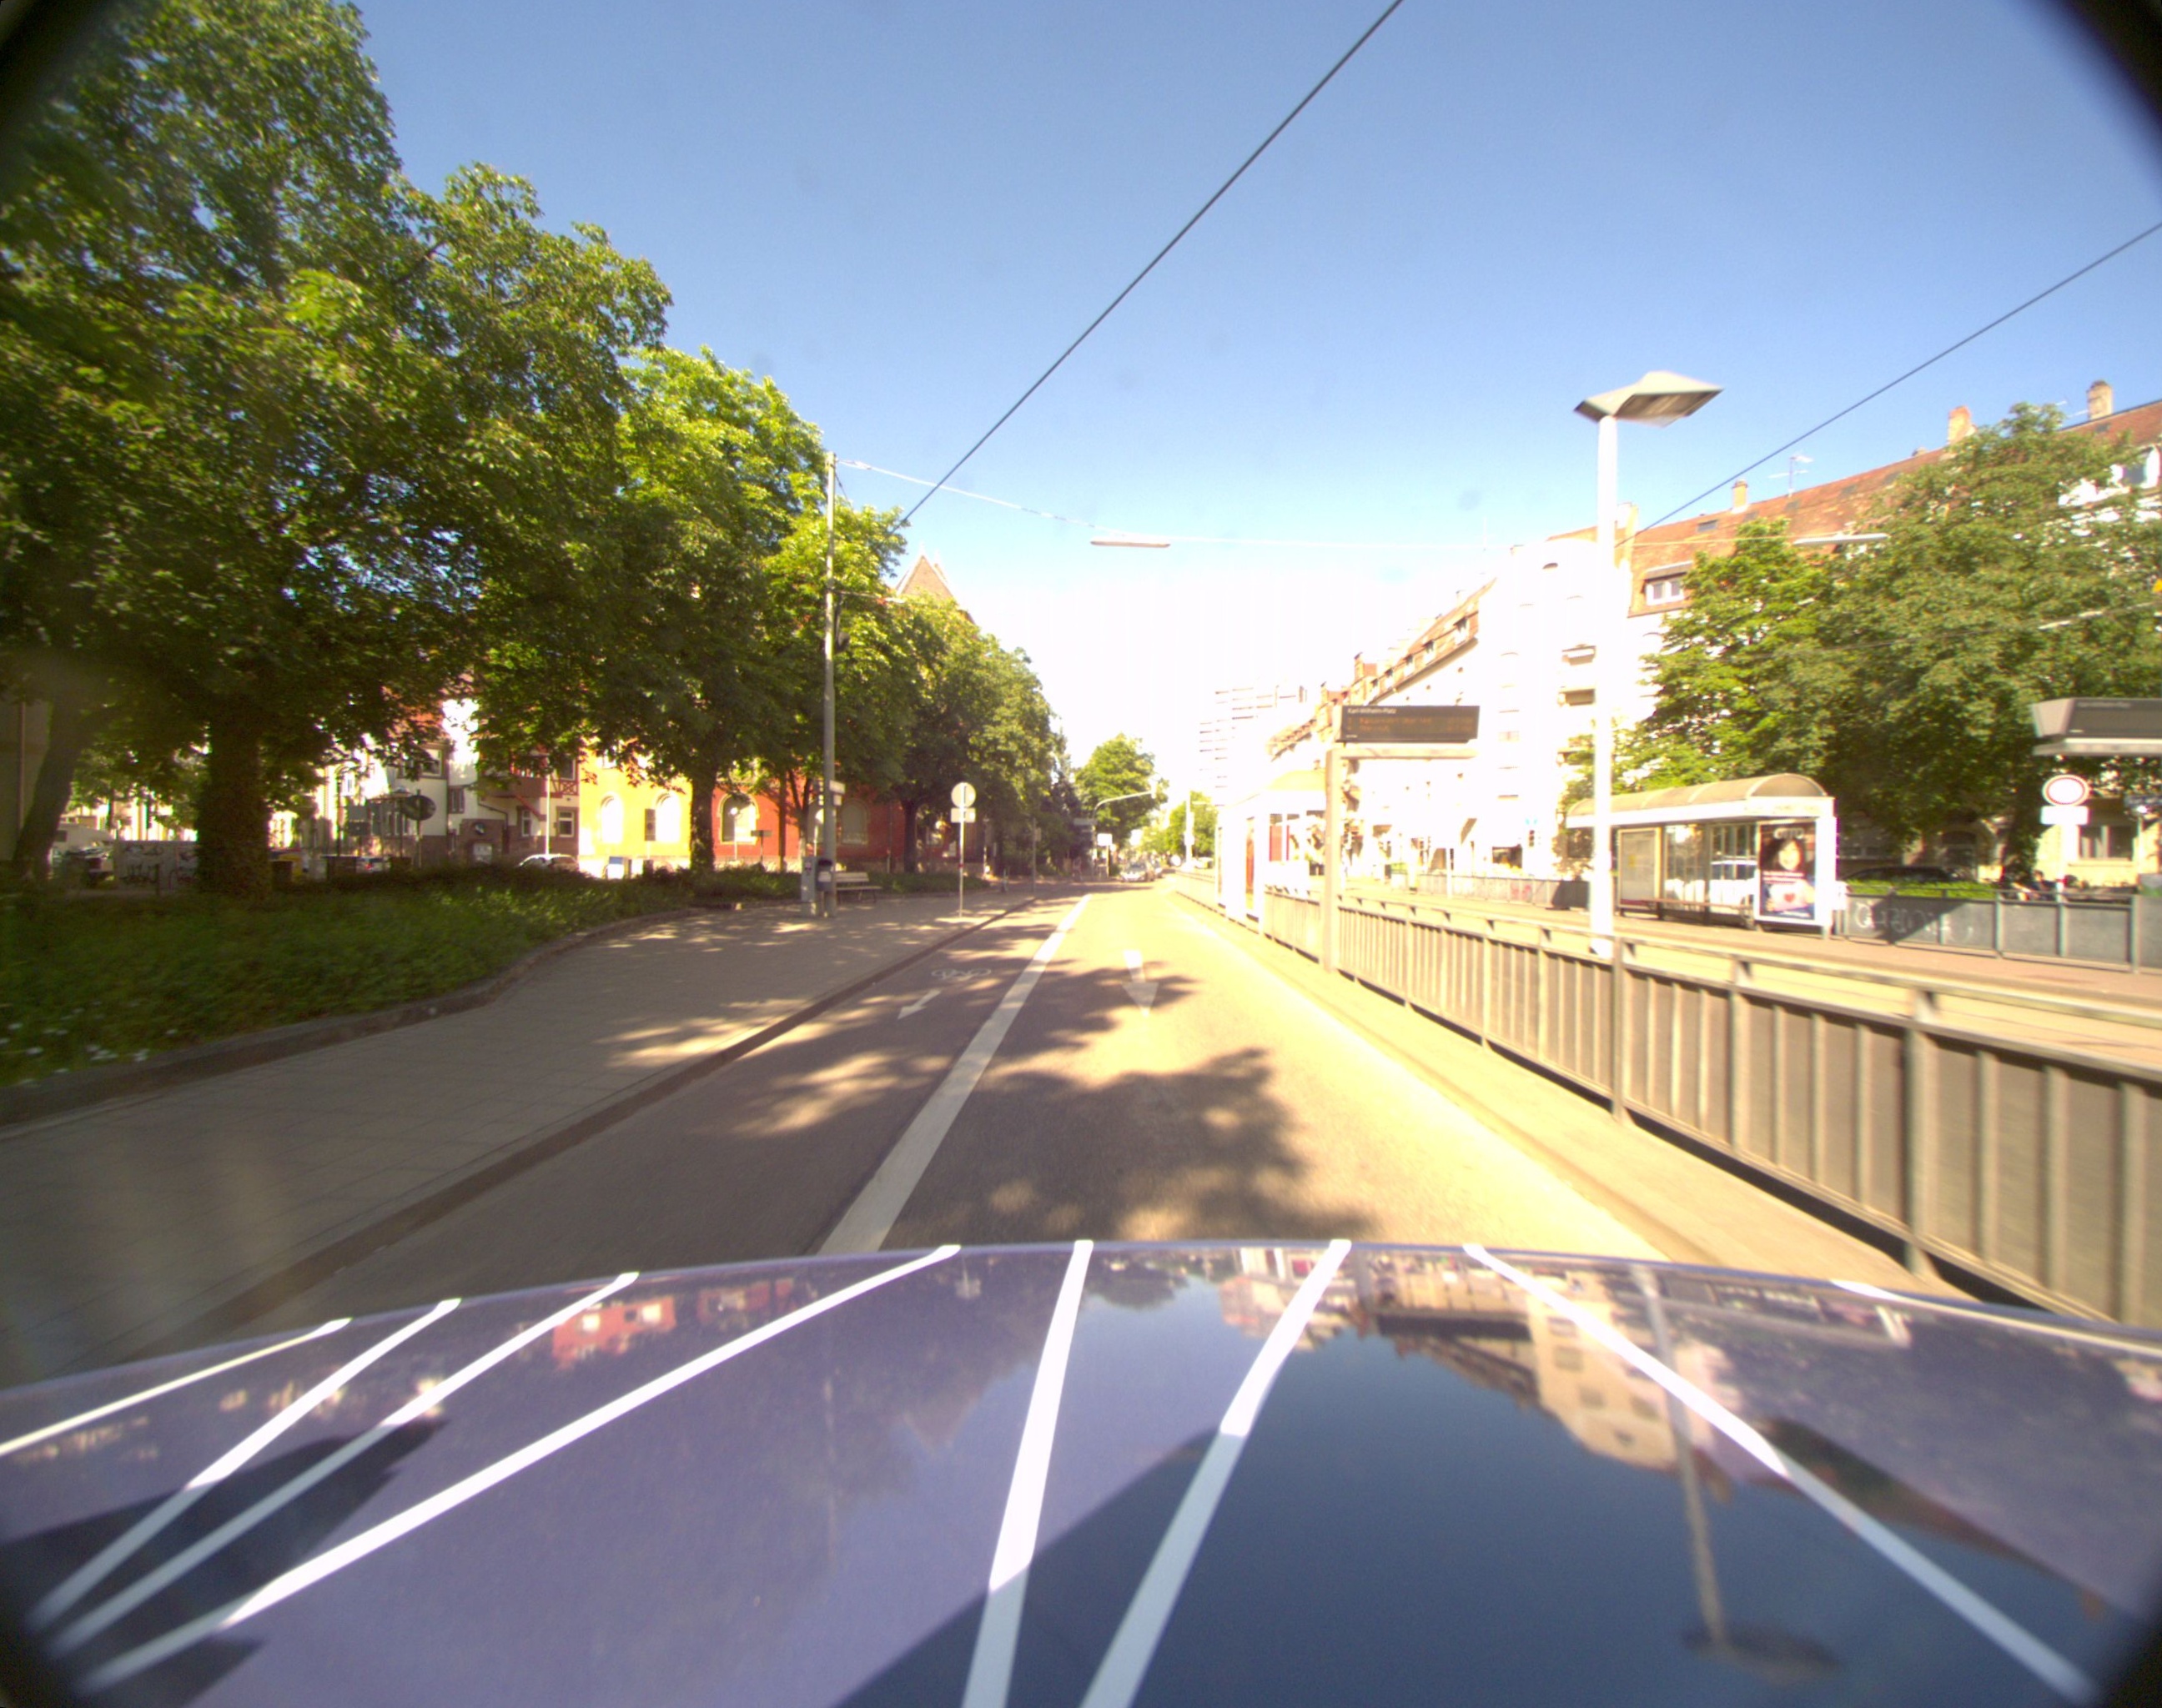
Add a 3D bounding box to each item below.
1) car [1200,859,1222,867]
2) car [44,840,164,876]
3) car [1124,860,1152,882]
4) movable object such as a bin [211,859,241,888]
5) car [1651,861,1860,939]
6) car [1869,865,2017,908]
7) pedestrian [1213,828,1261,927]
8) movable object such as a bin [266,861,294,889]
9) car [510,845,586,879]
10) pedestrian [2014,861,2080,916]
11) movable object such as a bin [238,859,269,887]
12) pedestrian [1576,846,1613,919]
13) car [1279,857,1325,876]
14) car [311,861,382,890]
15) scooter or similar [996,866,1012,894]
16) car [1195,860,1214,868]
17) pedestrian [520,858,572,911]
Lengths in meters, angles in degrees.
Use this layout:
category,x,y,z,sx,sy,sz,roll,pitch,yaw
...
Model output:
category,x,y,z,sx,sy,sz,roll,pitch,yaw
car,21.454,1.502,125.749,3.214,1.412,1.572,-1,0,35
car,-48.534,0.199,37.835,1.496,1.725,3.353,-1,0,21
car,3.767,1.103,50.493,1.725,1.390,3.614,-1,0,3
movable object such as a bin,-28.970,0.643,25.743,0.641,0.959,0.544,-1,0,30
car,15.504,0.972,17.763,1.694,1.531,3.800,3,0,6
car,29.753,1.075,26.321,1.740,1.322,2.991,-1,0,-23
pedestrian,3.061,0.453,14.978,0.773,1.861,0.896,-2,0,5
movable object such as a bin,-28.323,0.736,26.870,0.641,0.959,0.544,-1,0,30
car,-27.412,0.420,39.061,3.793,1.707,1.638,-1,0,29
pedestrian,22.975,0.814,18.081,0.658,1.274,0.724,-1,0,3
movable object such as a bin,-28.652,0.650,26.315,0.641,0.959,0.583,-1,0,30
pedestrian,12.751,0.696,18.882,0.466,1.774,0.673,1,0,1
car,21.350,1.207,73.535,3.885,1.581,1.816,-1,4,-2
car,-38.746,1.105,40.063,3.539,1.449,1.638,-1,0,28
scooter or similar,-3.398,1.150,33.679,0.519,1.241,1.277,1,-2,3
car,21.175,1.729,130.189,3.229,1.412,1.565,-1,0,-44
pedestrian,-12.810,0.706,18.229,0.450,1.224,1.041,-1,0,3
